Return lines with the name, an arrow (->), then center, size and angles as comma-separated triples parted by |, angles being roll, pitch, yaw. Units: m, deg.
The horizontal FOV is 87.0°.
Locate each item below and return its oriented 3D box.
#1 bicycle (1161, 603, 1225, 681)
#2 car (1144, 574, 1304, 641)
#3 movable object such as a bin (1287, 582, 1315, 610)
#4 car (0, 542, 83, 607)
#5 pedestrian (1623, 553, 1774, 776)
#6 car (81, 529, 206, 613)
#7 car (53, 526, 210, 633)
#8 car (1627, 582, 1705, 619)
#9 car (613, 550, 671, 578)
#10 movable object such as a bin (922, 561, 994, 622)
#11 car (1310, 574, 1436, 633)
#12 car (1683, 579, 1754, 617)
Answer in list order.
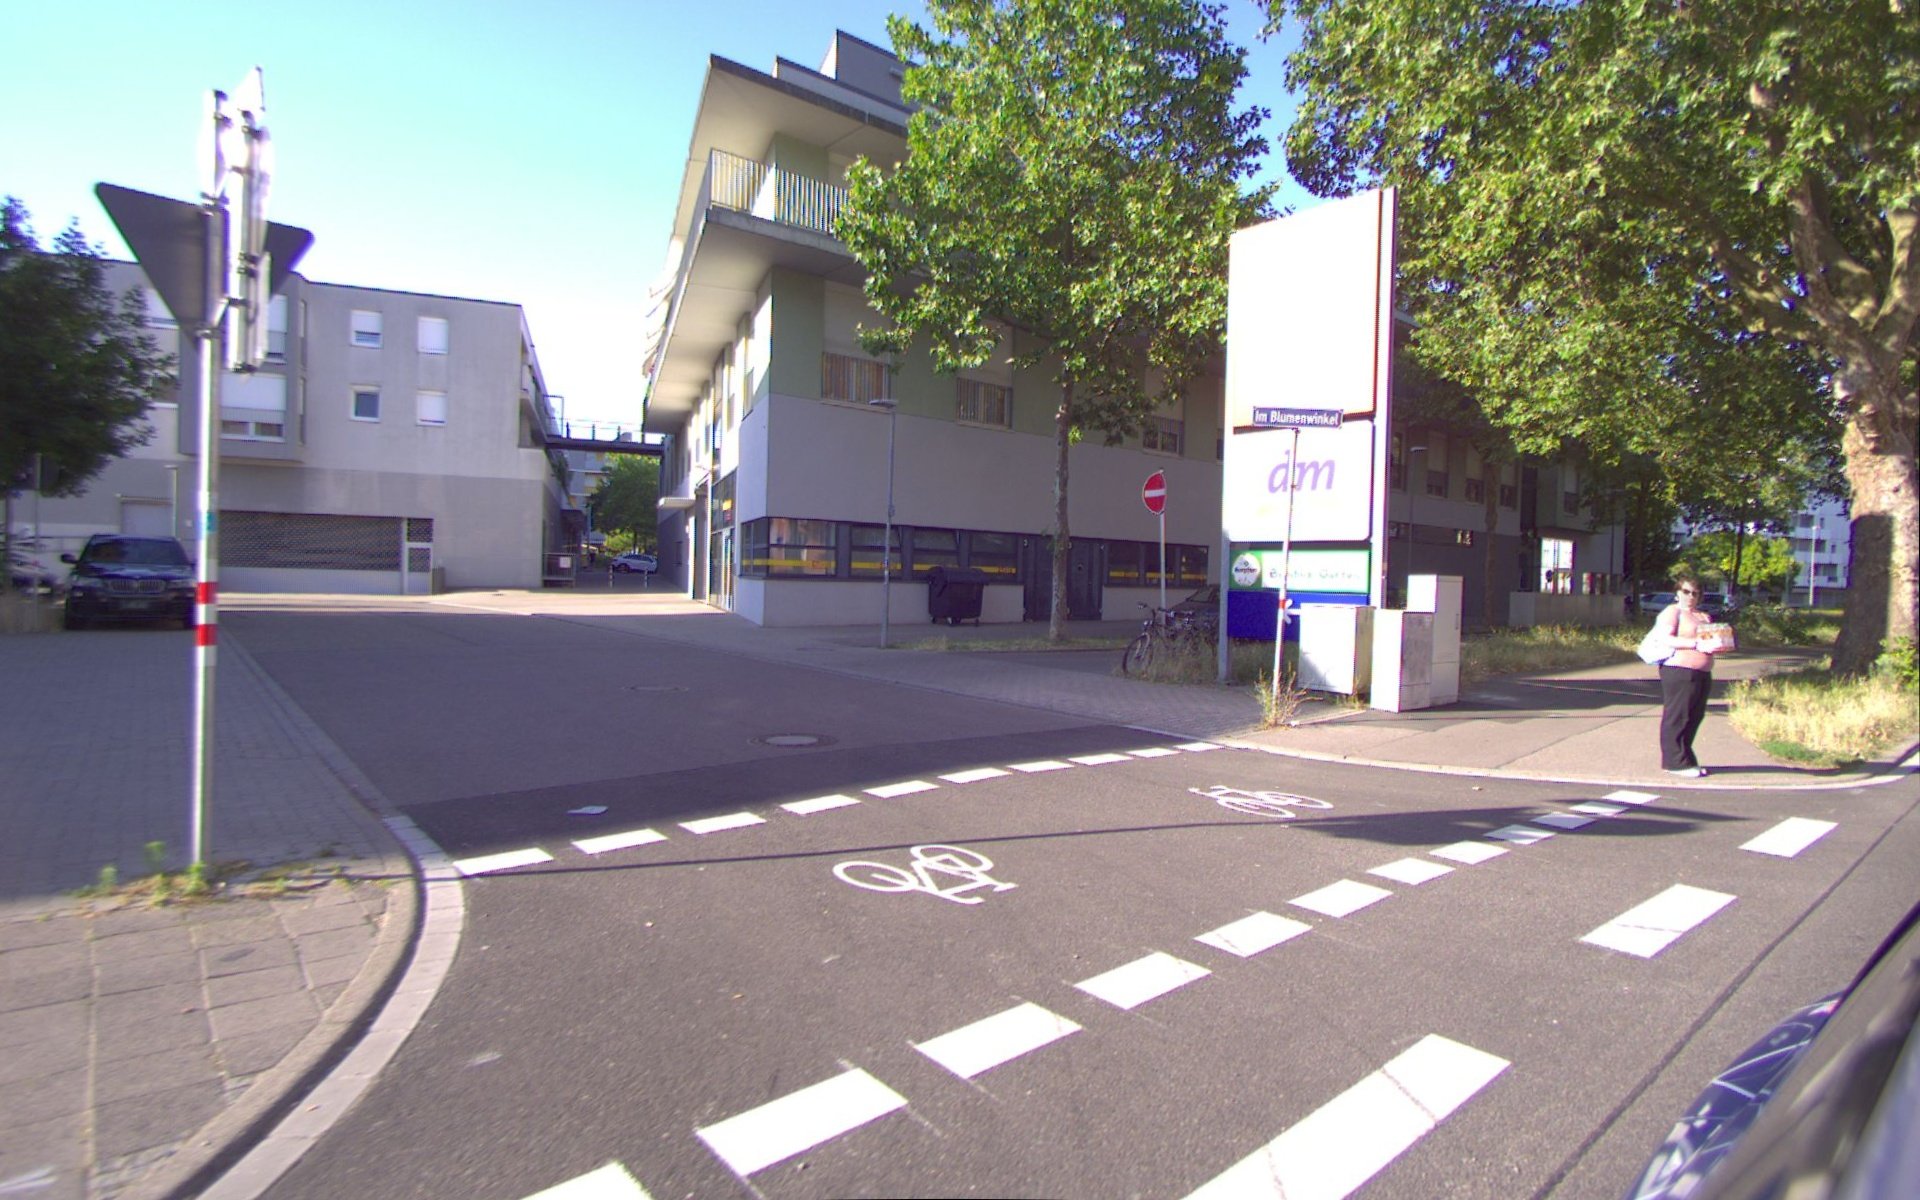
bicycle -> 3.329, 0.569, 14.402 | 0.381, 1.016, 1.468 | 2, 2, 33
car -> 6.576, 0.149, 24.989 | 4.052, 1.487, 1.862 | 0, 2, -42
movable object such as a bin -> 12.047, -0.152, 35.754 | 0.651, 0.954, 0.630 | 1, 2, -39
car -> -24.606, -0.710, 25.125 | 4.801, 1.517, 1.793 | 2, 2, 12
pedestrian -> 6.265, 0.506, 8.631 | 0.653, 1.782, 0.768 | 3, 2, 10
car -> -18.285, -0.701, 22.689 | 1.994, 1.683, 4.494 | 1, 2, -39
car -> -15.181, -0.437, 18.458 | 1.995, 1.683, 4.491 | 1, 2, -42
car -> 32.816, 0.010, 47.003 | 4.242, 1.562, 1.863 | 0, 2, -40
car -> -23.006, -2.585, 73.258 | 3.916, 1.896, 1.783 | 1, 2, -20
movable object such as a bin -> -0.057, -0.222, 25.299 | 1.378, 1.481, 1.199 | 1, 2, -28
car -> 12.135, 0.083, 29.654 | 3.692, 1.572, 1.863 | 0, 2, -40
car -> 38.836, -0.102, 51.775 | 4.242, 1.793, 1.909 | 0, 2, -40
